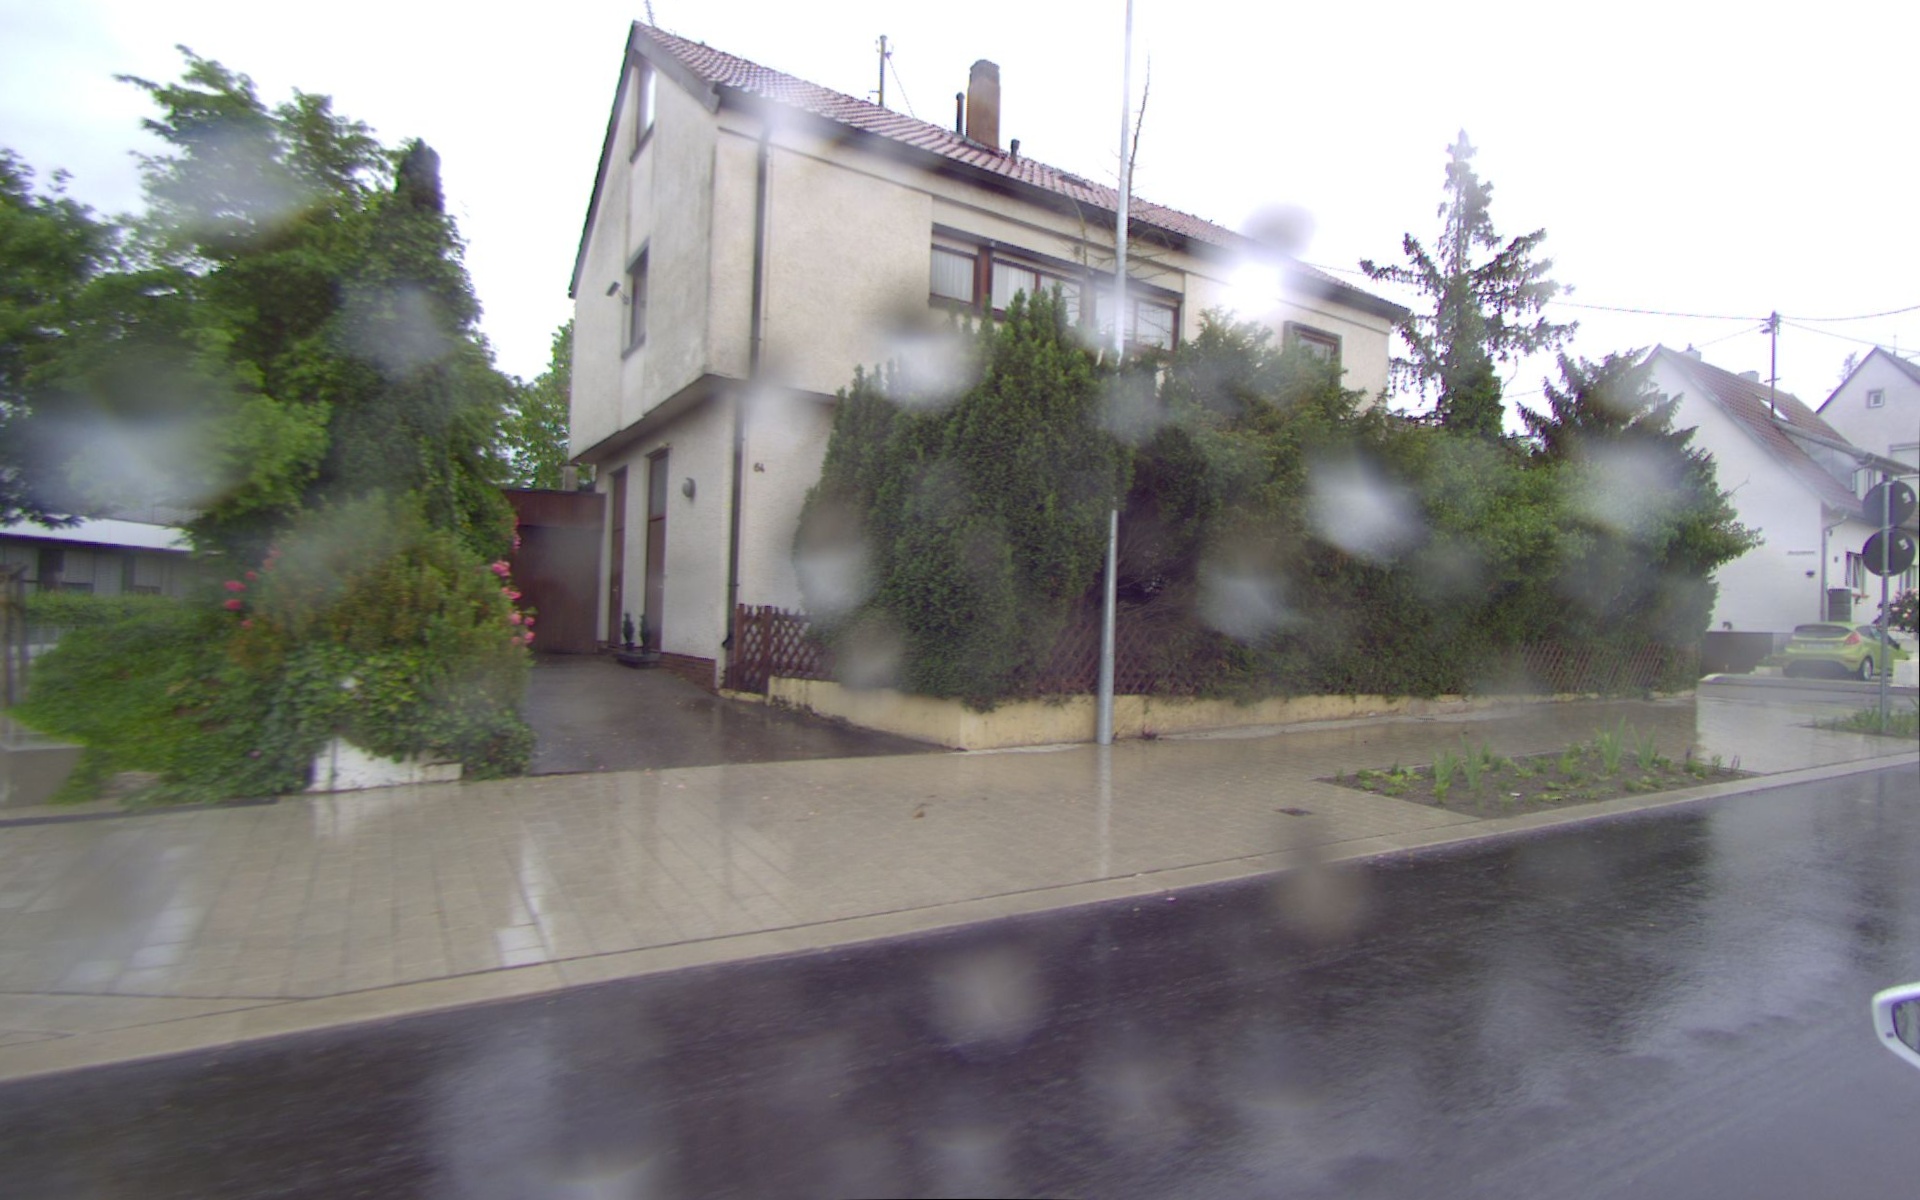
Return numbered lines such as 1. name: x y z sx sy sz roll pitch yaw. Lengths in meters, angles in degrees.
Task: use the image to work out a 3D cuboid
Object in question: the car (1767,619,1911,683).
1. car: 22.703 1.316 25.931 3.416 1.486 1.771 3 -1 -30
